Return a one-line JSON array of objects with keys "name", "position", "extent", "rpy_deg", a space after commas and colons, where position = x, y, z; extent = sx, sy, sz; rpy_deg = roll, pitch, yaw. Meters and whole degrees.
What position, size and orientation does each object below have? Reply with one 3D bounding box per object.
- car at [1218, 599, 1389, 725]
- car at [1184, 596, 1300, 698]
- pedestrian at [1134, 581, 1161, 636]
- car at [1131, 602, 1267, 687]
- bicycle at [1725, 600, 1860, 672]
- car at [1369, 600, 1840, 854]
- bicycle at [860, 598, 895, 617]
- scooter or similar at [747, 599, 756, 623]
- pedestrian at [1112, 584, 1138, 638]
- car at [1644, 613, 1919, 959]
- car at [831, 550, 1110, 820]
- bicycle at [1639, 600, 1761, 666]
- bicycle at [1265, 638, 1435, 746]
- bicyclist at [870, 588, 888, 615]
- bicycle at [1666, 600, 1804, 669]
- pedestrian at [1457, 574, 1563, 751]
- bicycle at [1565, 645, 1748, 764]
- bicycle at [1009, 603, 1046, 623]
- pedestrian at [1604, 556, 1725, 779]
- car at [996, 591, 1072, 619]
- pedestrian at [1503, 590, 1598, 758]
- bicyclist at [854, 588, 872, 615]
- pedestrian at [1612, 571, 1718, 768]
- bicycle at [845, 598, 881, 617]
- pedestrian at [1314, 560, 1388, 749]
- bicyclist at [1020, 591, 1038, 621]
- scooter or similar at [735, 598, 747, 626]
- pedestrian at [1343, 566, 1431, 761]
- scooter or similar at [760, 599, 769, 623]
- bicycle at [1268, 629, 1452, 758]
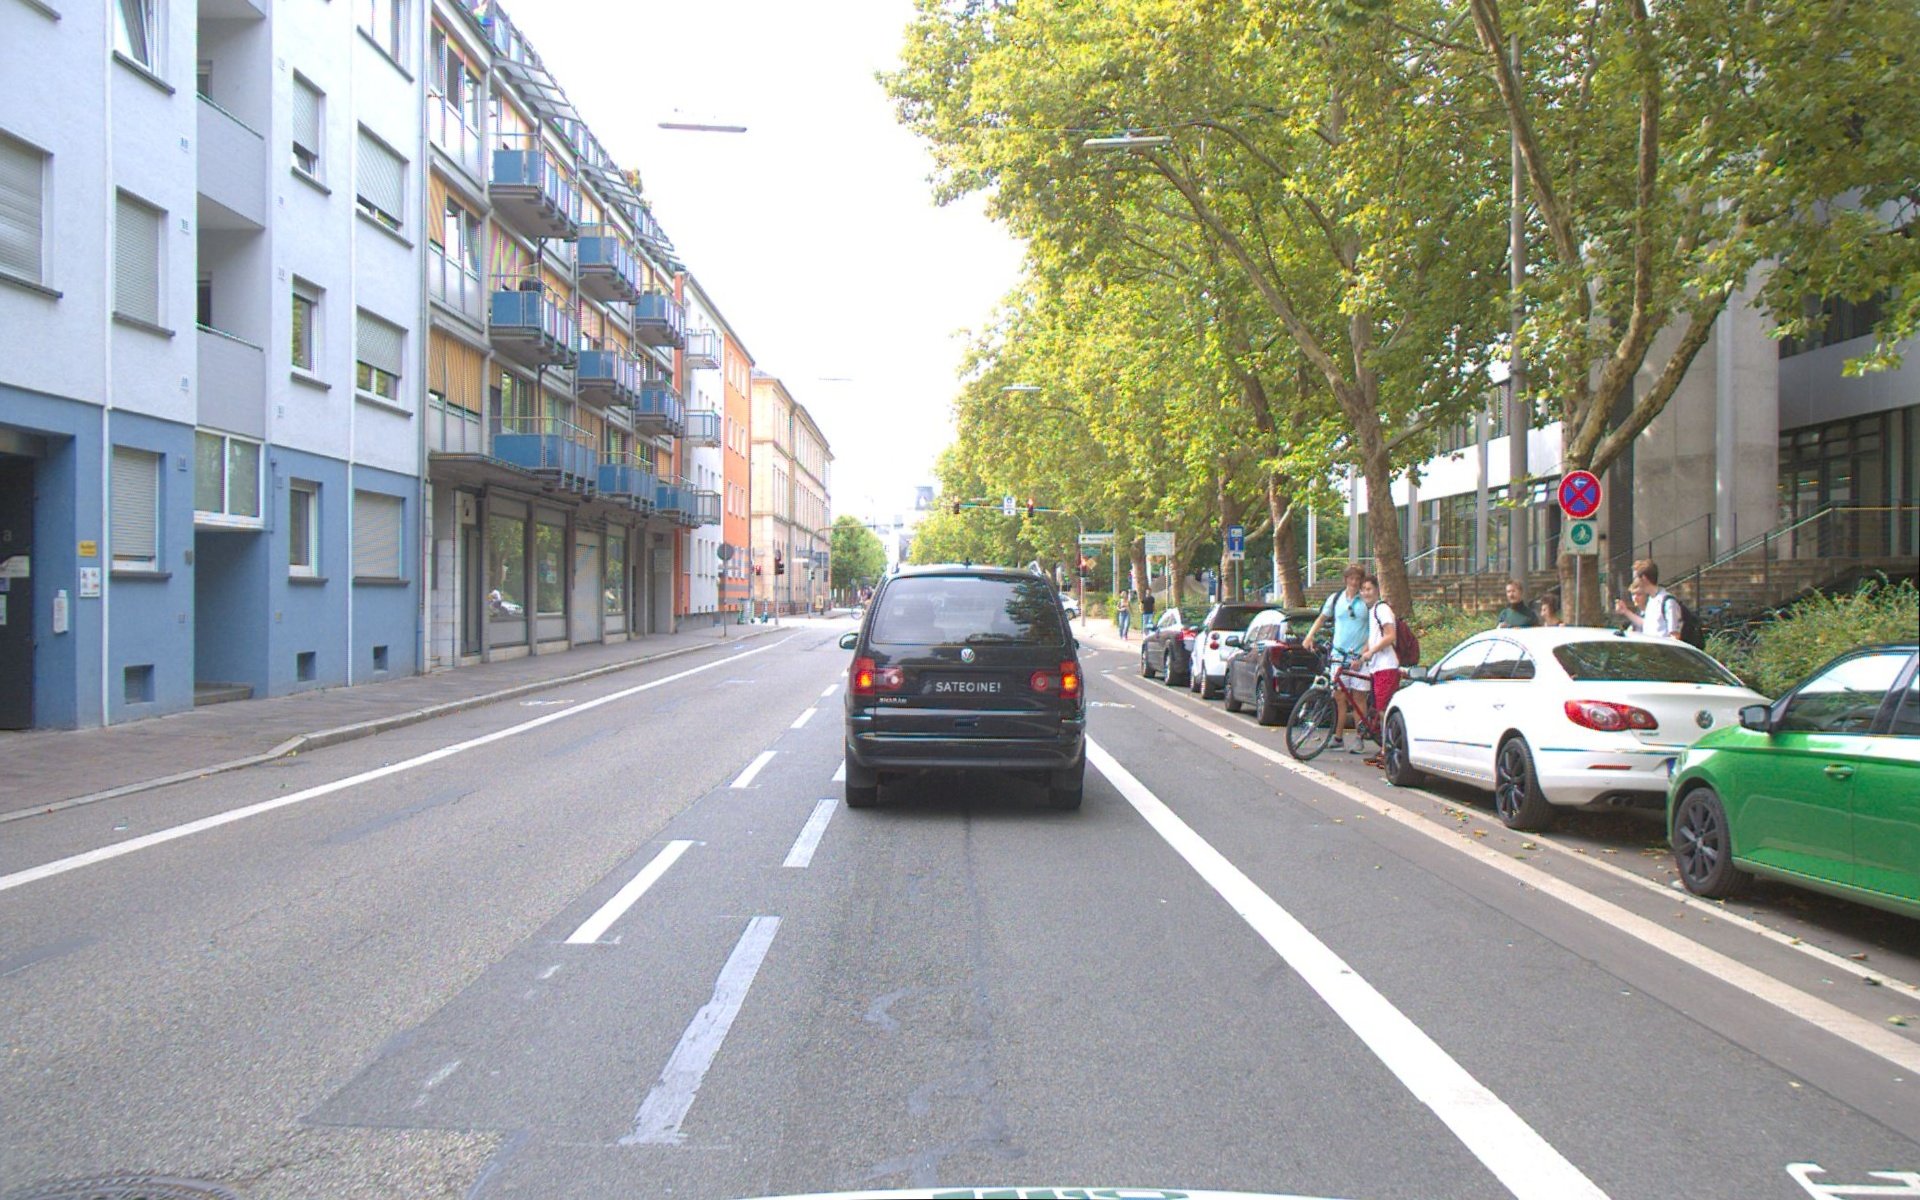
[{"name": "car", "position": [4.578, 0.775, 22.525], "extent": [1.497, 1.528, 3.659], "rpy_deg": [2, 0, -1]}, {"name": "car", "position": [4.616, 0.737, 27.347], "extent": [1.504, 1.570, 2.600], "rpy_deg": [2, 0, 2]}, {"name": "pedestrian", "position": [6.421, 0.292, 56.646], "extent": [0.700, 1.831, 1.033], "rpy_deg": [-2, -1, -2]}, {"name": "car", "position": [4.461, 0.789, 31.480], "extent": [1.664, 1.450, 4.419], "rpy_deg": [2, 0, -3]}, {"name": "bicycle", "position": [13.711, 0.588, 27.267], "extent": [1.876, 1.137, 0.673], "rpy_deg": [-1, 0, -1]}, {"name": "car", "position": [4.700, 0.819, 12.869], "extent": [1.647, 1.542, 4.541], "rpy_deg": [3, 0, -3]}, {"name": "bicycle", "position": [-4.654, 0.422, 93.697], "extent": [1.890, 1.046, 0.582], "rpy_deg": [1, 0, -11]}, {"name": "scooter or similar", "position": [-10.148, 0.539, 80.608], "extent": [0.370, 1.167, 1.141], "rpy_deg": [0, -2, -4]}, {"name": "pedestrian", "position": [5.649, 0.364, 56.634], "extent": [0.696, 1.814, 1.033], "rpy_deg": [-2, -1, -2]}, {"name": "car", "position": [4.933, 0.855, 7.891], "extent": [1.556, 1.475, 3.803], "rpy_deg": [3, 0, -3]}, {"name": "car", "position": [-0.010, 0.554, 13.229], "extent": [1.836, 1.775, 4.571], "rpy_deg": [0, 0, -2]}, {"name": "bicycle", "position": [13.252, 0.591, 29.636], "extent": [1.876, 1.137, 0.673], "rpy_deg": [-1, 0, -1]}, {"name": "bicycle", "position": [4.222, 0.995, 17.914], "extent": [1.704, 1.125, 0.550], "rpy_deg": [1, 0, -12]}, {"name": "bicyclist", "position": [-4.580, 0.072, 93.713], "extent": [0.898, 1.492, 0.568], "rpy_deg": [1, 0, -11]}, {"name": "bicycle", "position": [13.247, 0.584, 28.299], "extent": [2.037, 1.137, 0.673], "rpy_deg": [-1, 0, -1]}, {"name": "pedestrian", "position": [5.925, 0.662, 17.857], "extent": [0.853, 1.848, 0.780], "rpy_deg": [1, 0, -1]}, {"name": "bicycle", "position": [7.003, 1.046, 16.634], "extent": [1.736, 1.152, 0.461], "rpy_deg": [1, 0, -13]}, {"name": "bicycle", "position": [3.606, 0.679, 88.093], "extent": [1.889, 1.046, 0.582], "rpy_deg": [1, 0, -10]}, {"name": "pedestrian", "position": [6.629, 0.621, 15.588], "extent": [0.777, 2.032, 0.750], "rpy_deg": [1, 0, -1]}, {"name": "car", "position": [4.103, 0.277, 92.209], "extent": [4.009, 1.452, 1.760], "rpy_deg": [-1, 0, -8]}, {"name": "pedestrian", "position": [6.088, 0.746, 17.073], "extent": [0.706, 1.687, 0.655], "rpy_deg": [1, 0, -1]}, {"name": "bicyclist", "position": [-5.365, 0.063, 91.833], "extent": [0.898, 1.492, 0.568], "rpy_deg": [1, 0, -11]}, {"name": "pedestrian", "position": [6.946, 0.668, 16.320], "extent": [0.706, 1.887, 0.703], "rpy_deg": [1, 0, -1]}, {"name": "bicycle", "position": [-5.393, 0.420, 91.828], "extent": [1.890, 1.046, 0.582], "rpy_deg": [1, 0, -11]}, {"name": "pedestrian", "position": [4.159, 0.569, 17.642], "extent": [0.466, 1.968, 0.742], "rpy_deg": [1, 0, -12]}, {"name": "bicyclist", "position": [3.653, 0.324, 88.101], "extent": [0.839, 1.594, 0.576], "rpy_deg": [1, -1, -9]}, {"name": "scooter or similar", "position": [-9.849, 0.542, 74.365], "extent": [0.370, 1.204, 1.389], "rpy_deg": [0, -1, -1]}, {"name": "pedestrian", "position": [4.215, 0.610, 16.355], "extent": [0.511, 1.877, 0.741], "rpy_deg": [1, 0, -16]}, {"name": "scooter or similar", "position": [-9.579, 0.537, 81.164], "extent": [0.370, 1.164, 1.141], "rpy_deg": [0, -2, -4]}, {"name": "bicycle", "position": [4.014, 0.928, 16.603], "extent": [1.761, 1.238, 0.550], "rpy_deg": [1, 0, -19]}]
